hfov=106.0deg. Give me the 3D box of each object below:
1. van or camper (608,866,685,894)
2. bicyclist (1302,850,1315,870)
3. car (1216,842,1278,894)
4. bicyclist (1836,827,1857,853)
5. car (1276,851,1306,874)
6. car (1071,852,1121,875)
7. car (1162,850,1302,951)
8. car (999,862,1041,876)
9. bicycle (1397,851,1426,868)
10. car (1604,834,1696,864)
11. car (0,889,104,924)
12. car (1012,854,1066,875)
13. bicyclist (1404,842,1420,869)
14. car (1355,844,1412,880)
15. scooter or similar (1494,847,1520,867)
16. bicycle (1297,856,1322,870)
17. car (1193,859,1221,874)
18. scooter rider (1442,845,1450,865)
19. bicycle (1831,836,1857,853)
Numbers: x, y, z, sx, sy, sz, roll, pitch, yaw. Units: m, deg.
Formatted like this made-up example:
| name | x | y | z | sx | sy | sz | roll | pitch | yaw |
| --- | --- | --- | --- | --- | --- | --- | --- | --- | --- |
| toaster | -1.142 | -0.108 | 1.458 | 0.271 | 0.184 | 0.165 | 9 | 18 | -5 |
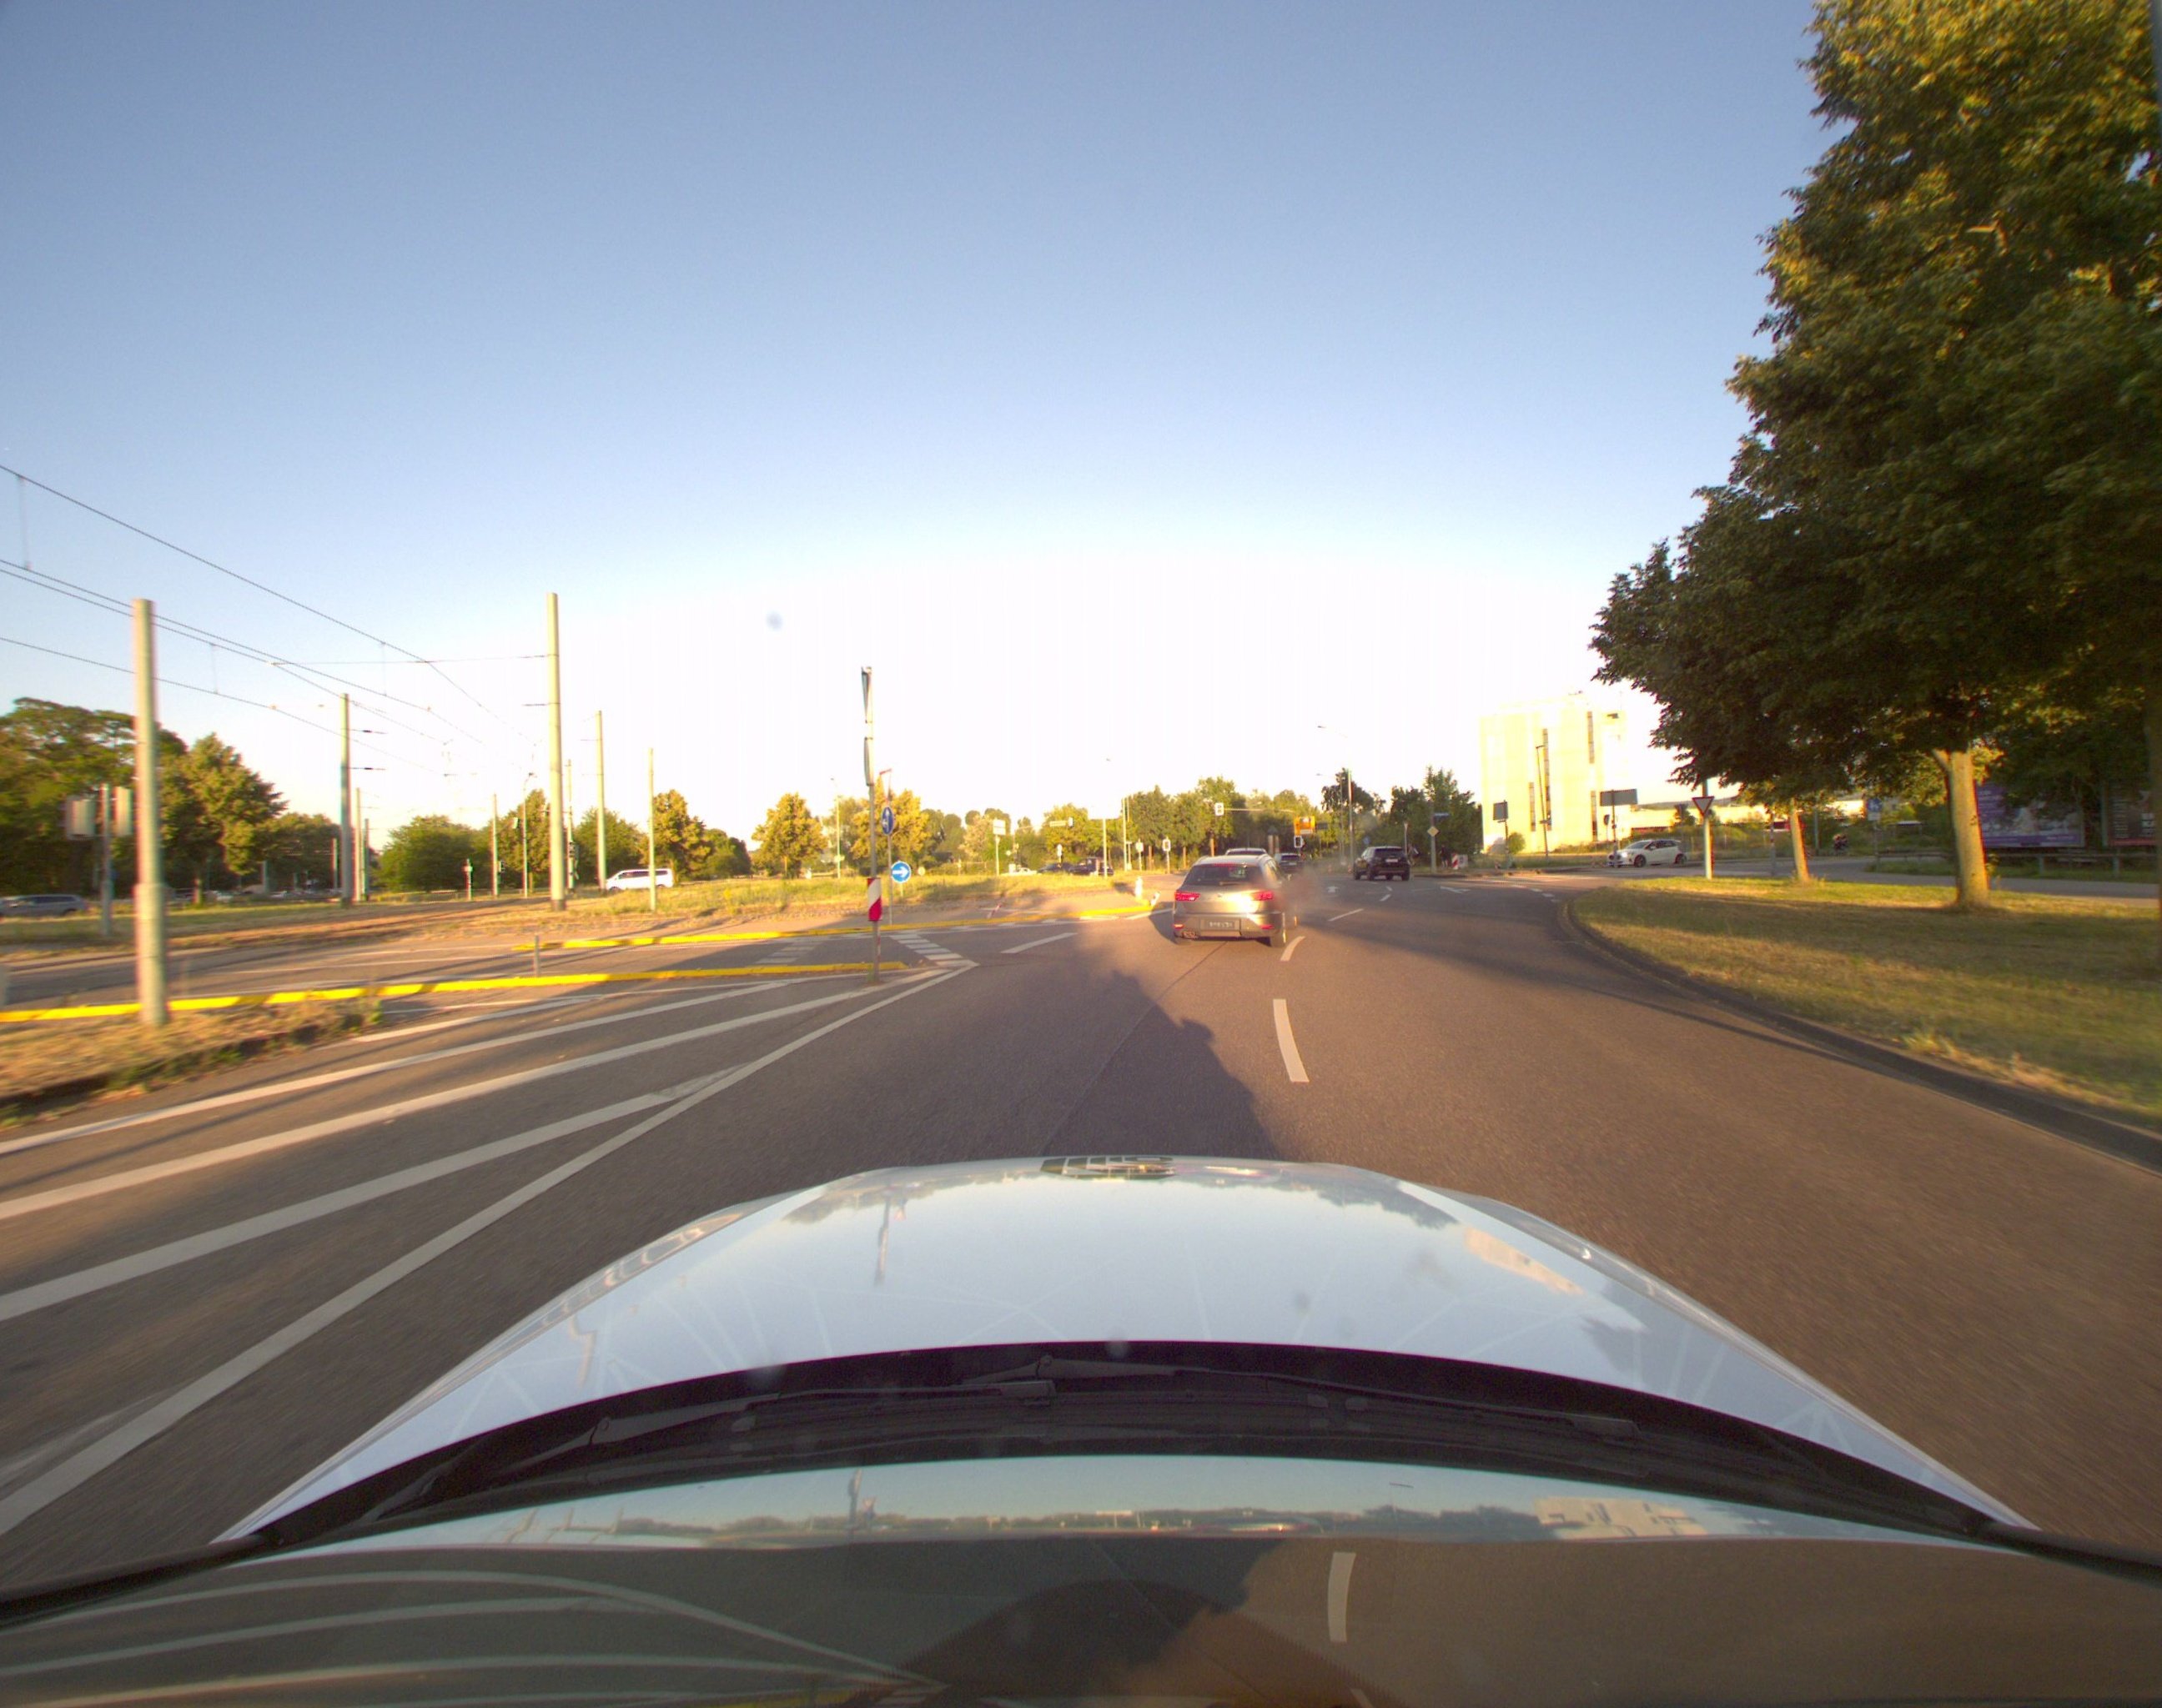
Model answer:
| name | x | y | z | sx | sy | sz | roll | pitch | yaw |
| --- | --- | --- | --- | --- | --- | --- | --- | --- | --- |
| van or camper | -35.312 | 2.110 | 66.238 | 5.323 | 2.010 | 1.895 | -2 | 0 | -34 |
| bicyclist | 19.252 | 0.500 | 68.856 | 0.760 | 1.702 | 0.645 | -5 | -2 | 29 |
| car | 5.264 | 0.405 | 25.693 | 1.734 | 1.466 | 4.149 | -2 | 0 | 12 |
| bicyclist | 52.953 | -0.972 | 56.332 | 0.537 | 1.744 | 0.838 | -1 | -1 | -19 |
| car | 14.297 | 0.555 | 55.627 | 1.734 | 1.488 | 4.147 | -2 | 0 | 11 |
| car | 0.957 | 0.622 | 54.634 | 1.754 | 1.446 | 4.102 | -2 | 0 | -24 |
| car | 2.725 | 0.686 | 13.898 | 1.731 | 1.424 | 4.154 | -2 | 0 | 19 |
| car | -5.742 | 1.420 | 76.874 | 3.797 | 1.255 | 1.562 | 0 | -1 | -36 |
| bicycle | 24.053 | 0.407 | 59.280 | 1.903 | 1.085 | 0.459 | -4 | -2 | 30 |
| car | 32.179 | -0.275 | 46.080 | 4.082 | 1.558 | 1.884 | -1 | -2 | -10 |
| car | -49.671 | 2.484 | 38.179 | 1.916 | 1.415 | 4.658 | -2 | 0 | 5 |
| car | -3.759 | 0.956 | 73.533 | 4.612 | 1.747 | 1.734 | -2 | 0 | -31 |
| bicyclist | 24.124 | 0.080 | 59.333 | 0.898 | 1.898 | 0.645 | -4 | -2 | 30 |
| car | 13.917 | 0.349 | 37.628 | 1.800 | 1.525 | 4.148 | -2 | 0 | 11 |
| scooter or similar | 25.183 | 0.171 | 48.155 | 0.443 | 1.163 | 1.373 | -1 | 0 | -22 |
| bicycle | 19.316 | 0.752 | 68.854 | 1.903 | 1.085 | 0.459 | -5 | -2 | 30 |
| car | 15.245 | 1.493 | 97.976 | 1.729 | 1.747 | 4.626 | -2 | 0 | 30 |
| scooter rider | 24.850 | 0.094 | 55.465 | 0.264 | 1.339 | 0.404 | -2 | 0 | -15 |
| bicycle | 52.872 | -0.657 | 56.444 | 0.280 | 1.089 | 1.364 | -1 | -1 | -18 |
